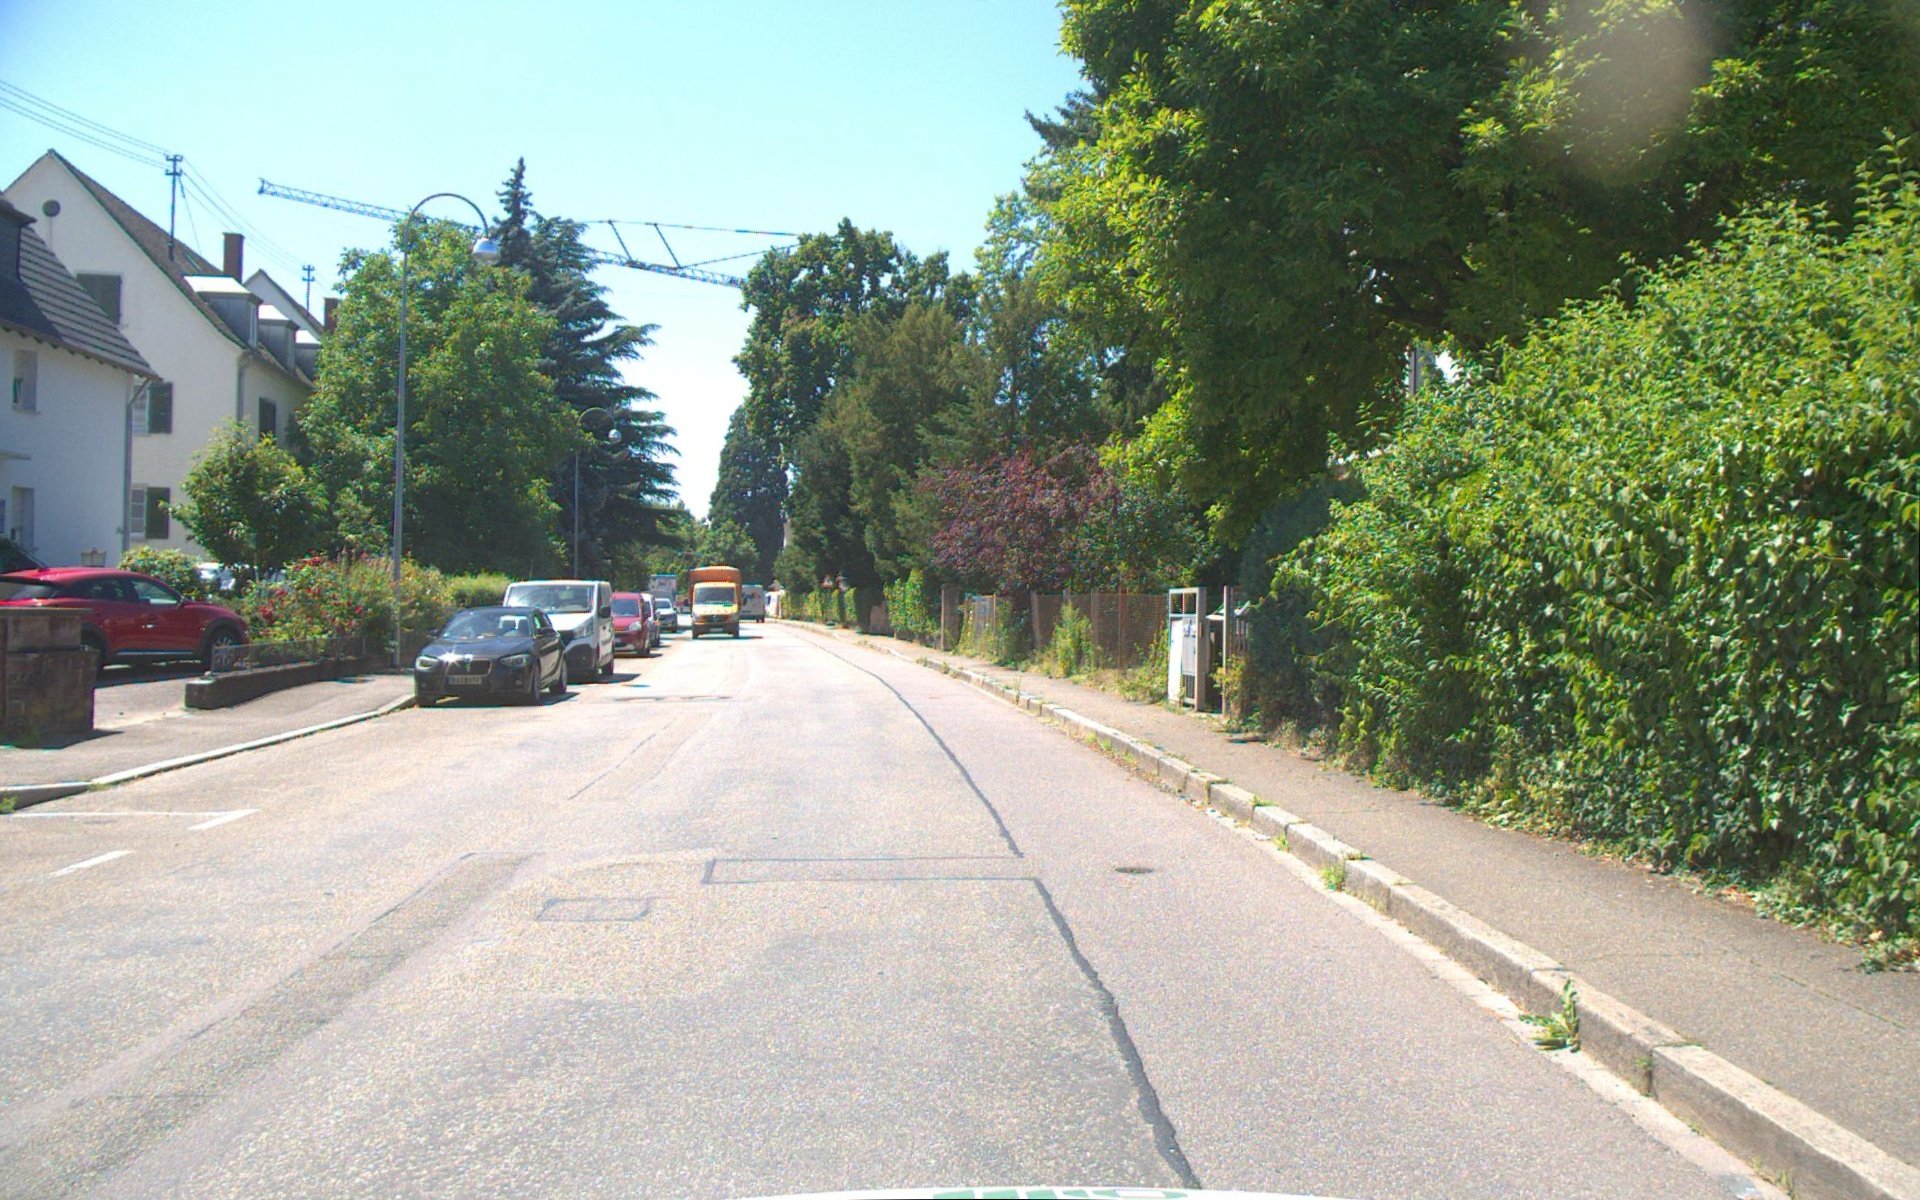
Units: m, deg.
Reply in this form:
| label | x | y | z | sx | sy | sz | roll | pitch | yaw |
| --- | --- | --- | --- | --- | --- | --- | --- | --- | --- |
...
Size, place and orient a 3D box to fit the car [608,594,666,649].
| label | x | y | z | sx | sy | sz | roll | pitch | yaw |
| --- | --- | --- | --- | --- | --- | --- | --- | --- | --- |
| car | -10.998 | 0.687 | 56.579 | 1.617 | 1.782 | 4.347 | -1 | 0 | -7 |

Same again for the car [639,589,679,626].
| label | x | y | z | sx | sy | sz | roll | pitch | yaw |
| --- | --- | --- | --- | --- | --- | --- | --- | --- | --- |
| car | -14.579 | 0.357 | 80.166 | 1.817 | 1.700 | 4.700 | -2 | 0 | -11 |

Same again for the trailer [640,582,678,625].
| label | x | y | z | sx | sy | sz | roll | pitch | yaw |
| --- | --- | --- | --- | --- | --- | --- | --- | --- | --- |
| trailer | -15.383 | 0.169 | 84.541 | 1.814 | 2.075 | 4.152 | -2 | 0 | -11 |

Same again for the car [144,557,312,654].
| label | x | y | z | sx | sy | sz | roll | pitch | yaw |
| --- | --- | --- | --- | --- | --- | --- | --- | --- | --- |
| car | -15.688 | 0.129 | 35.670 | 1.679 | 1.903 | 4.001 | 2 | 0 | 2 |

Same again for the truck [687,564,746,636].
| label | x | y | z | sx | sy | sz | roll | pitch | yaw |
| --- | --- | --- | --- | --- | --- | --- | --- | --- | --- |
| truck | -10.260 | -0.020 | 69.390 | 2.330 | 2.879 | 5.646 | -1 | 0 | -9 |

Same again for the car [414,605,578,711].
| label | x | y | z | sx | sy | sz | roll | pitch | yaw |
| --- | --- | --- | --- | --- | --- | --- | --- | --- | --- |
| car | -7.085 | 0.834 | 25.651 | 1.666 | 1.408 | 4.231 | -2 | 0 | -5 |

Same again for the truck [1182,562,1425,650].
| label | x | y | z | sx | sy | sz | roll | pitch | yaw |
| --- | --- | --- | --- | --- | --- | --- | --- | --- | --- |
| truck | 9.771 | 0.155 | 47.207 | 6.492 | 2.205 | 1.974 | 2 | 1 | -11 |

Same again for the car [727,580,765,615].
| label | x | y | z | sx | sy | sz | roll | pitch | yaw |
| --- | --- | --- | --- | --- | --- | --- | --- | --- | --- |
| car | -15.093 | -0.214 | 116.500 | 2.107 | 2.356 | 4.836 | -1 | 1 | -13 |

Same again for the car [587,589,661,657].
| label | x | y | z | sx | sy | sz | roll | pitch | yaw |
| --- | --- | --- | --- | --- | --- | --- | --- | --- | --- |
| car | -9.341 | 0.595 | 46.235 | 1.725 | 1.757 | 4.450 | -1 | 0 | -8 |

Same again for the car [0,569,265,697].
| label | x | y | z | sx | sy | sz | roll | pitch | yaw |
| --- | --- | --- | --- | --- | --- | --- | --- | --- | --- |
| car | -12.324 | 0.400 | 24.170 | 1.609 | 1.537 | 4.114 | 4 | 3 | 20 |

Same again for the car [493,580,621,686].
| label | x | y | z | sx | sy | sz | roll | pitch | yaw |
| --- | --- | --- | --- | --- | --- | --- | --- | --- | --- |
| car | -7.914 | 0.615 | 32.903 | 1.850 | 1.914 | 4.973 | 0 | 0 | -7 |
